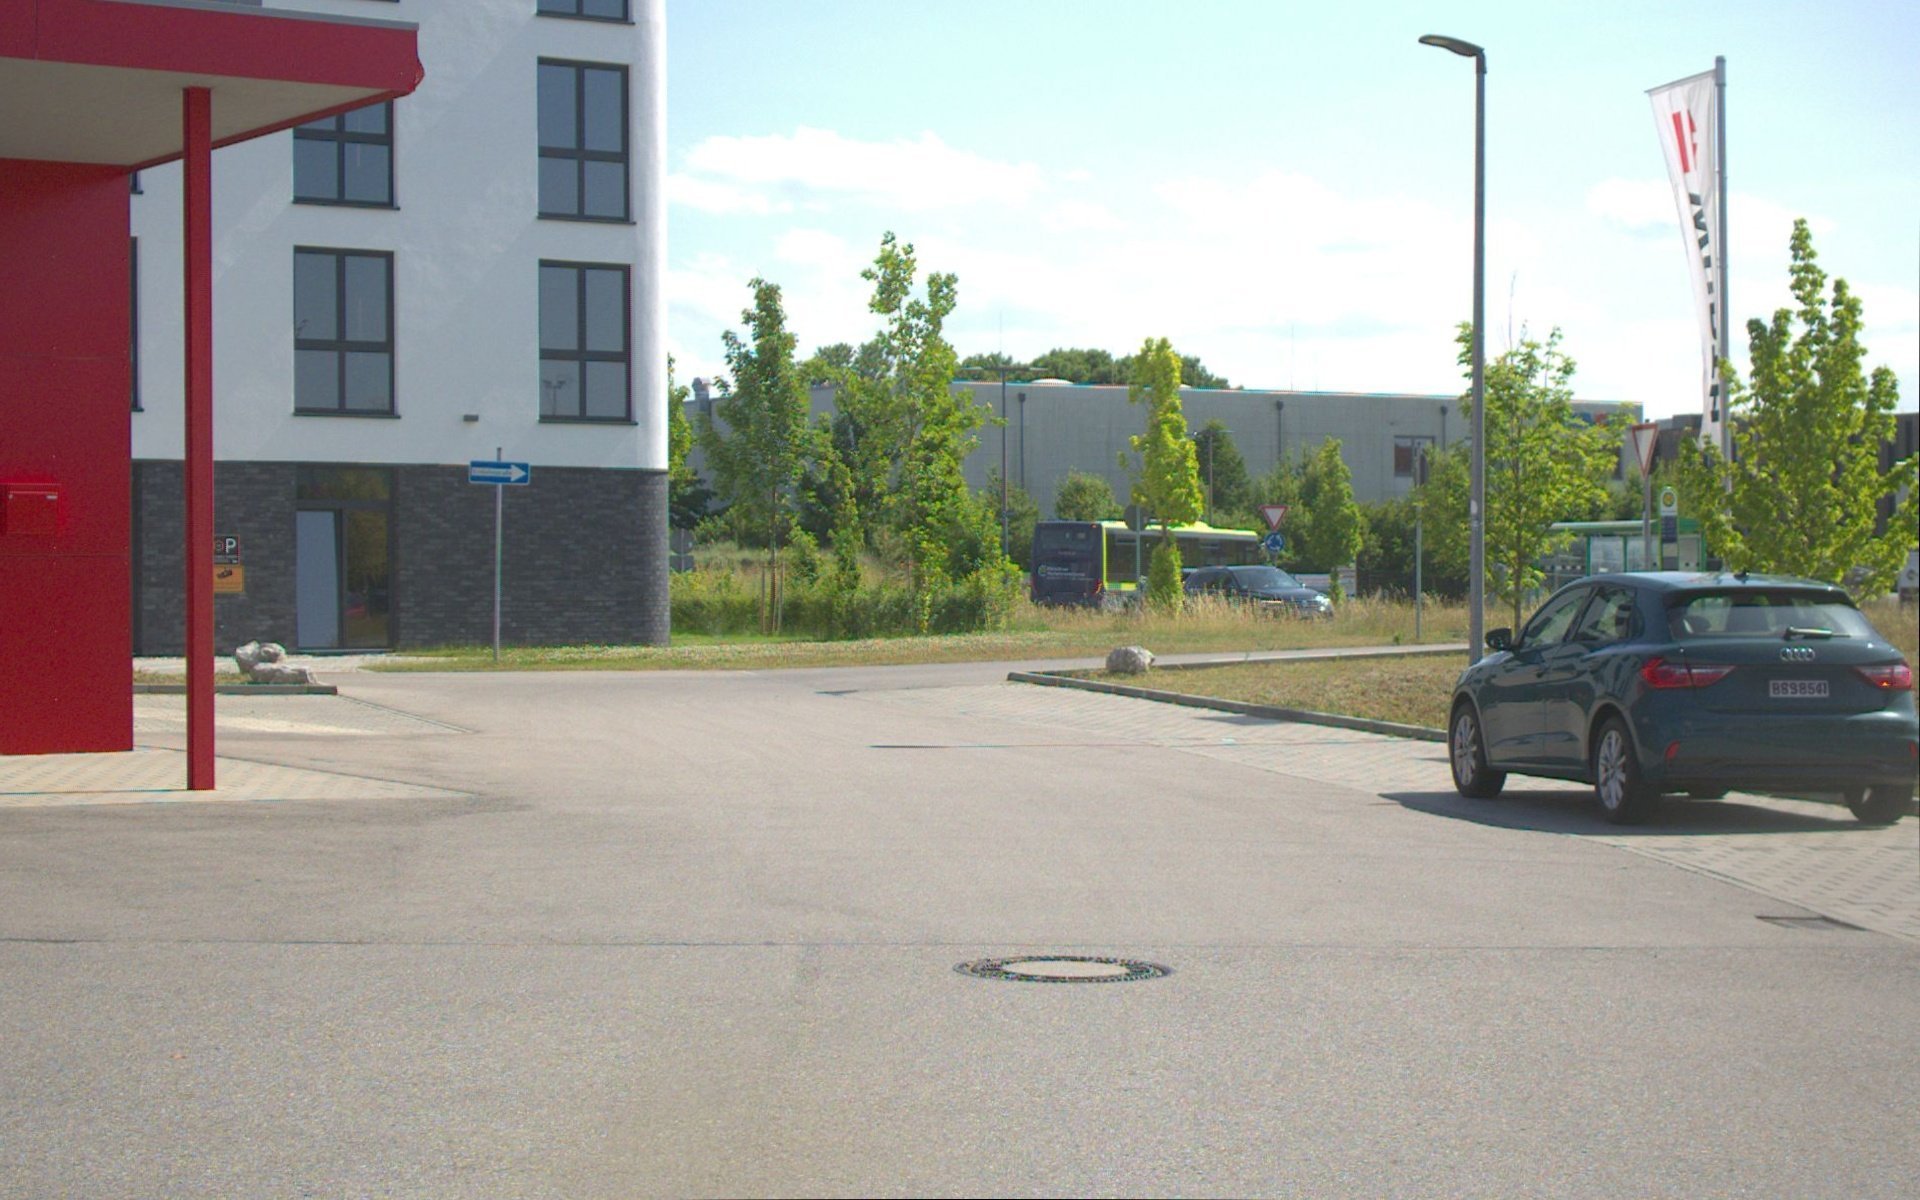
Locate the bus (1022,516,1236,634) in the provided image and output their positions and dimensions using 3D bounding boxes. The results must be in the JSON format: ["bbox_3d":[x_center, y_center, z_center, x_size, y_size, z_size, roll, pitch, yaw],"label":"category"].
[{"bbox_3d":[5.494,-0.876,109.174,2.570,3.545,11.236,1,2,26],"label":"bus"}]

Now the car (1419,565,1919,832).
[{"bbox_3d":[4.159,0.516,20.431,1.698,1.401,3.898,0,1,-10],"label":"car"}]

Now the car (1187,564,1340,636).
[{"bbox_3d":[6.494,-0.025,73.931,1.714,1.438,3.710,0,1,-23],"label":"car"}]
